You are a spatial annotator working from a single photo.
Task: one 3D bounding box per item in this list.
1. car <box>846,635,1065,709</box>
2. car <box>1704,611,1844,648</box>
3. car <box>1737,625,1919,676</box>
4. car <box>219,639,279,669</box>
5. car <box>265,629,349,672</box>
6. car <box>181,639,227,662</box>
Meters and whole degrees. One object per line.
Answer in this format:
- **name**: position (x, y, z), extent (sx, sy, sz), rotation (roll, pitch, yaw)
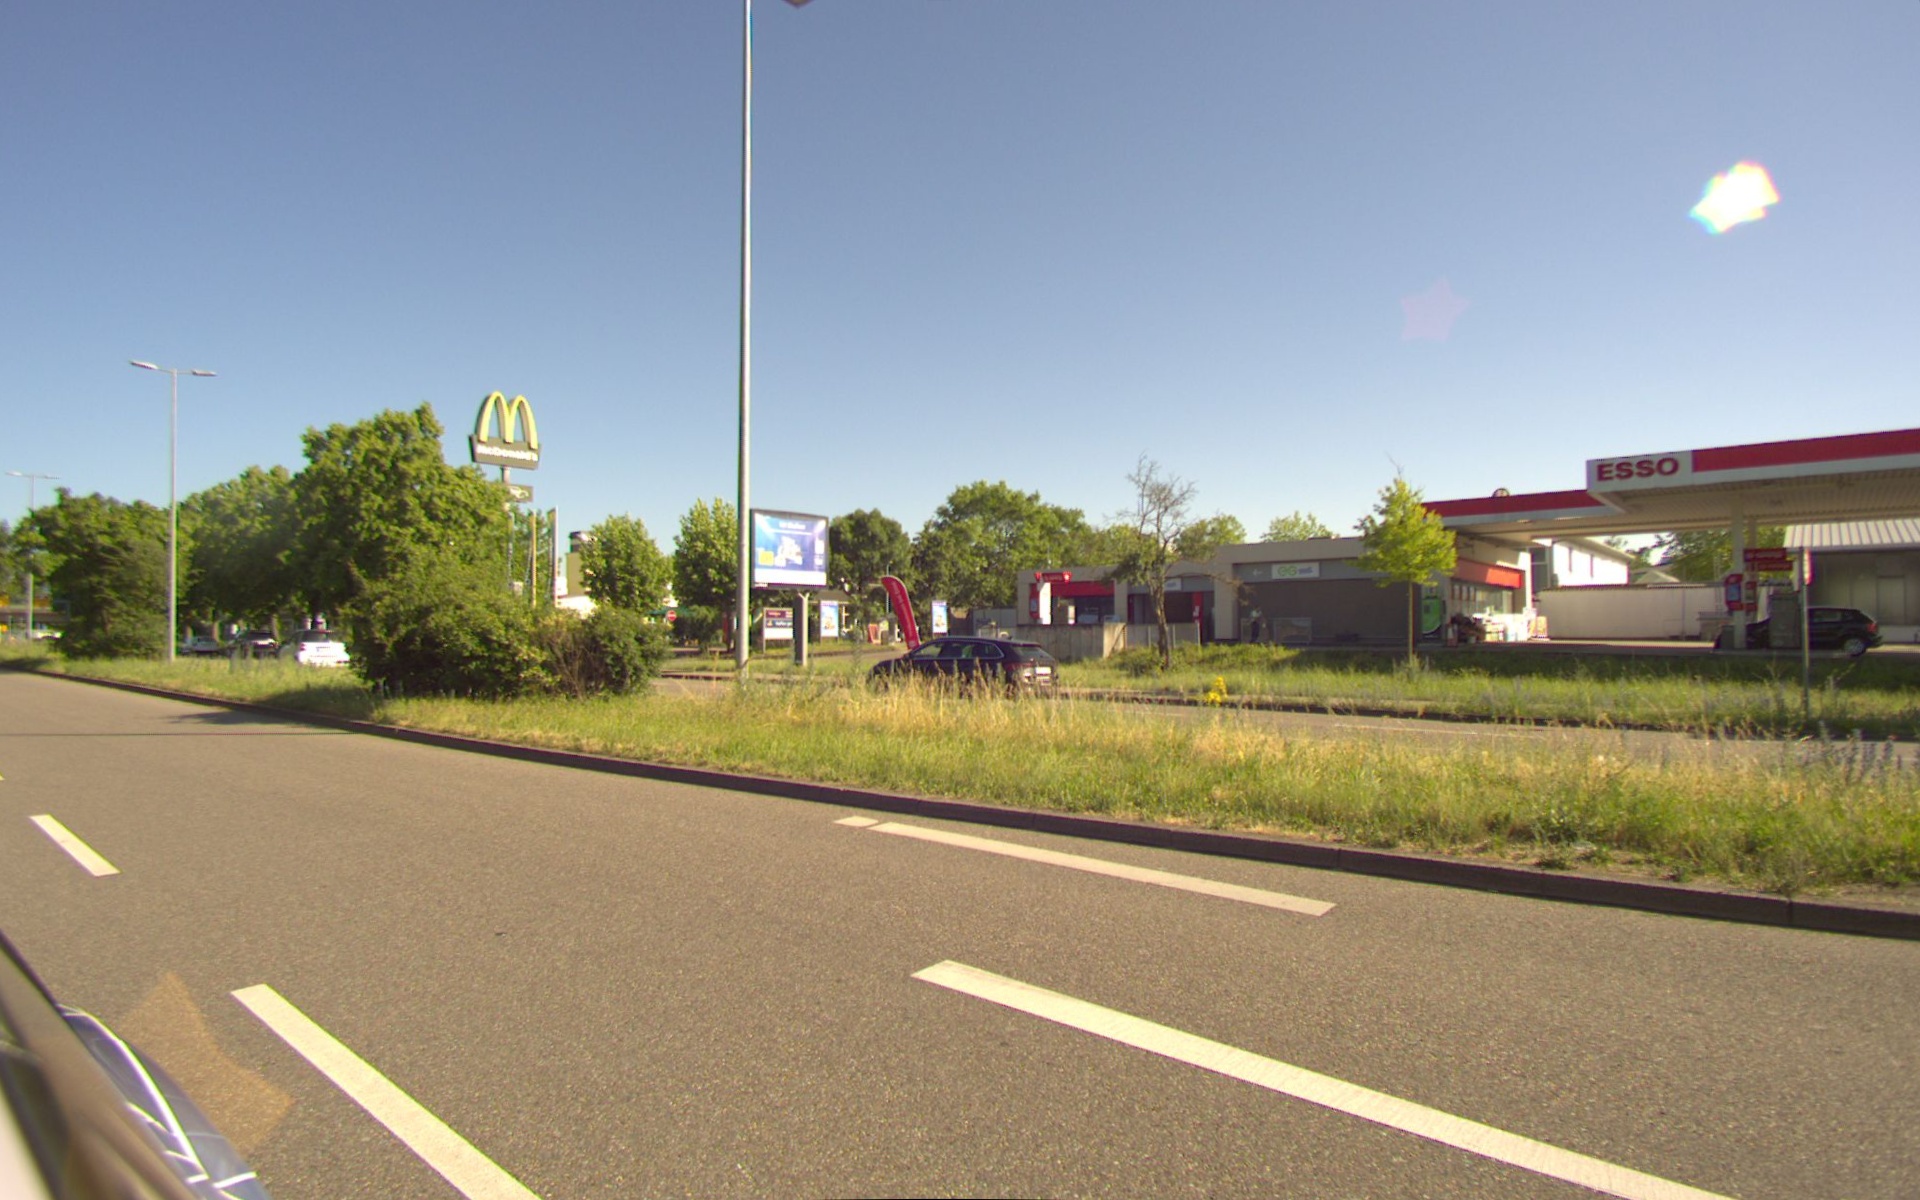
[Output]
- **car**: position (-0.192, 1.464, 21.245), extent (4.679, 1.344, 1.628), rotation (-1, -5, 41)
- **car**: position (34.559, 1.239, 43.045), extent (4.540, 1.477, 1.973), rotation (-1, 0, 41)
- **car**: position (25.558, 1.465, 29.916), extent (3.998, 1.416, 1.973), rotation (-2, -2, 41)
- **car**: position (-44.407, 3.343, 63.192), extent (4.769, 1.641, 1.973), rotation (-1, 0, 41)
- **car**: position (-23.042, 1.733, 35.659), extent (3.705, 1.364, 1.551), rotation (-1, 0, 41)
- **car**: position (-56.372, 3.728, 75.460), extent (4.141, 1.562, 1.973), rotation (-1, 0, 41)
